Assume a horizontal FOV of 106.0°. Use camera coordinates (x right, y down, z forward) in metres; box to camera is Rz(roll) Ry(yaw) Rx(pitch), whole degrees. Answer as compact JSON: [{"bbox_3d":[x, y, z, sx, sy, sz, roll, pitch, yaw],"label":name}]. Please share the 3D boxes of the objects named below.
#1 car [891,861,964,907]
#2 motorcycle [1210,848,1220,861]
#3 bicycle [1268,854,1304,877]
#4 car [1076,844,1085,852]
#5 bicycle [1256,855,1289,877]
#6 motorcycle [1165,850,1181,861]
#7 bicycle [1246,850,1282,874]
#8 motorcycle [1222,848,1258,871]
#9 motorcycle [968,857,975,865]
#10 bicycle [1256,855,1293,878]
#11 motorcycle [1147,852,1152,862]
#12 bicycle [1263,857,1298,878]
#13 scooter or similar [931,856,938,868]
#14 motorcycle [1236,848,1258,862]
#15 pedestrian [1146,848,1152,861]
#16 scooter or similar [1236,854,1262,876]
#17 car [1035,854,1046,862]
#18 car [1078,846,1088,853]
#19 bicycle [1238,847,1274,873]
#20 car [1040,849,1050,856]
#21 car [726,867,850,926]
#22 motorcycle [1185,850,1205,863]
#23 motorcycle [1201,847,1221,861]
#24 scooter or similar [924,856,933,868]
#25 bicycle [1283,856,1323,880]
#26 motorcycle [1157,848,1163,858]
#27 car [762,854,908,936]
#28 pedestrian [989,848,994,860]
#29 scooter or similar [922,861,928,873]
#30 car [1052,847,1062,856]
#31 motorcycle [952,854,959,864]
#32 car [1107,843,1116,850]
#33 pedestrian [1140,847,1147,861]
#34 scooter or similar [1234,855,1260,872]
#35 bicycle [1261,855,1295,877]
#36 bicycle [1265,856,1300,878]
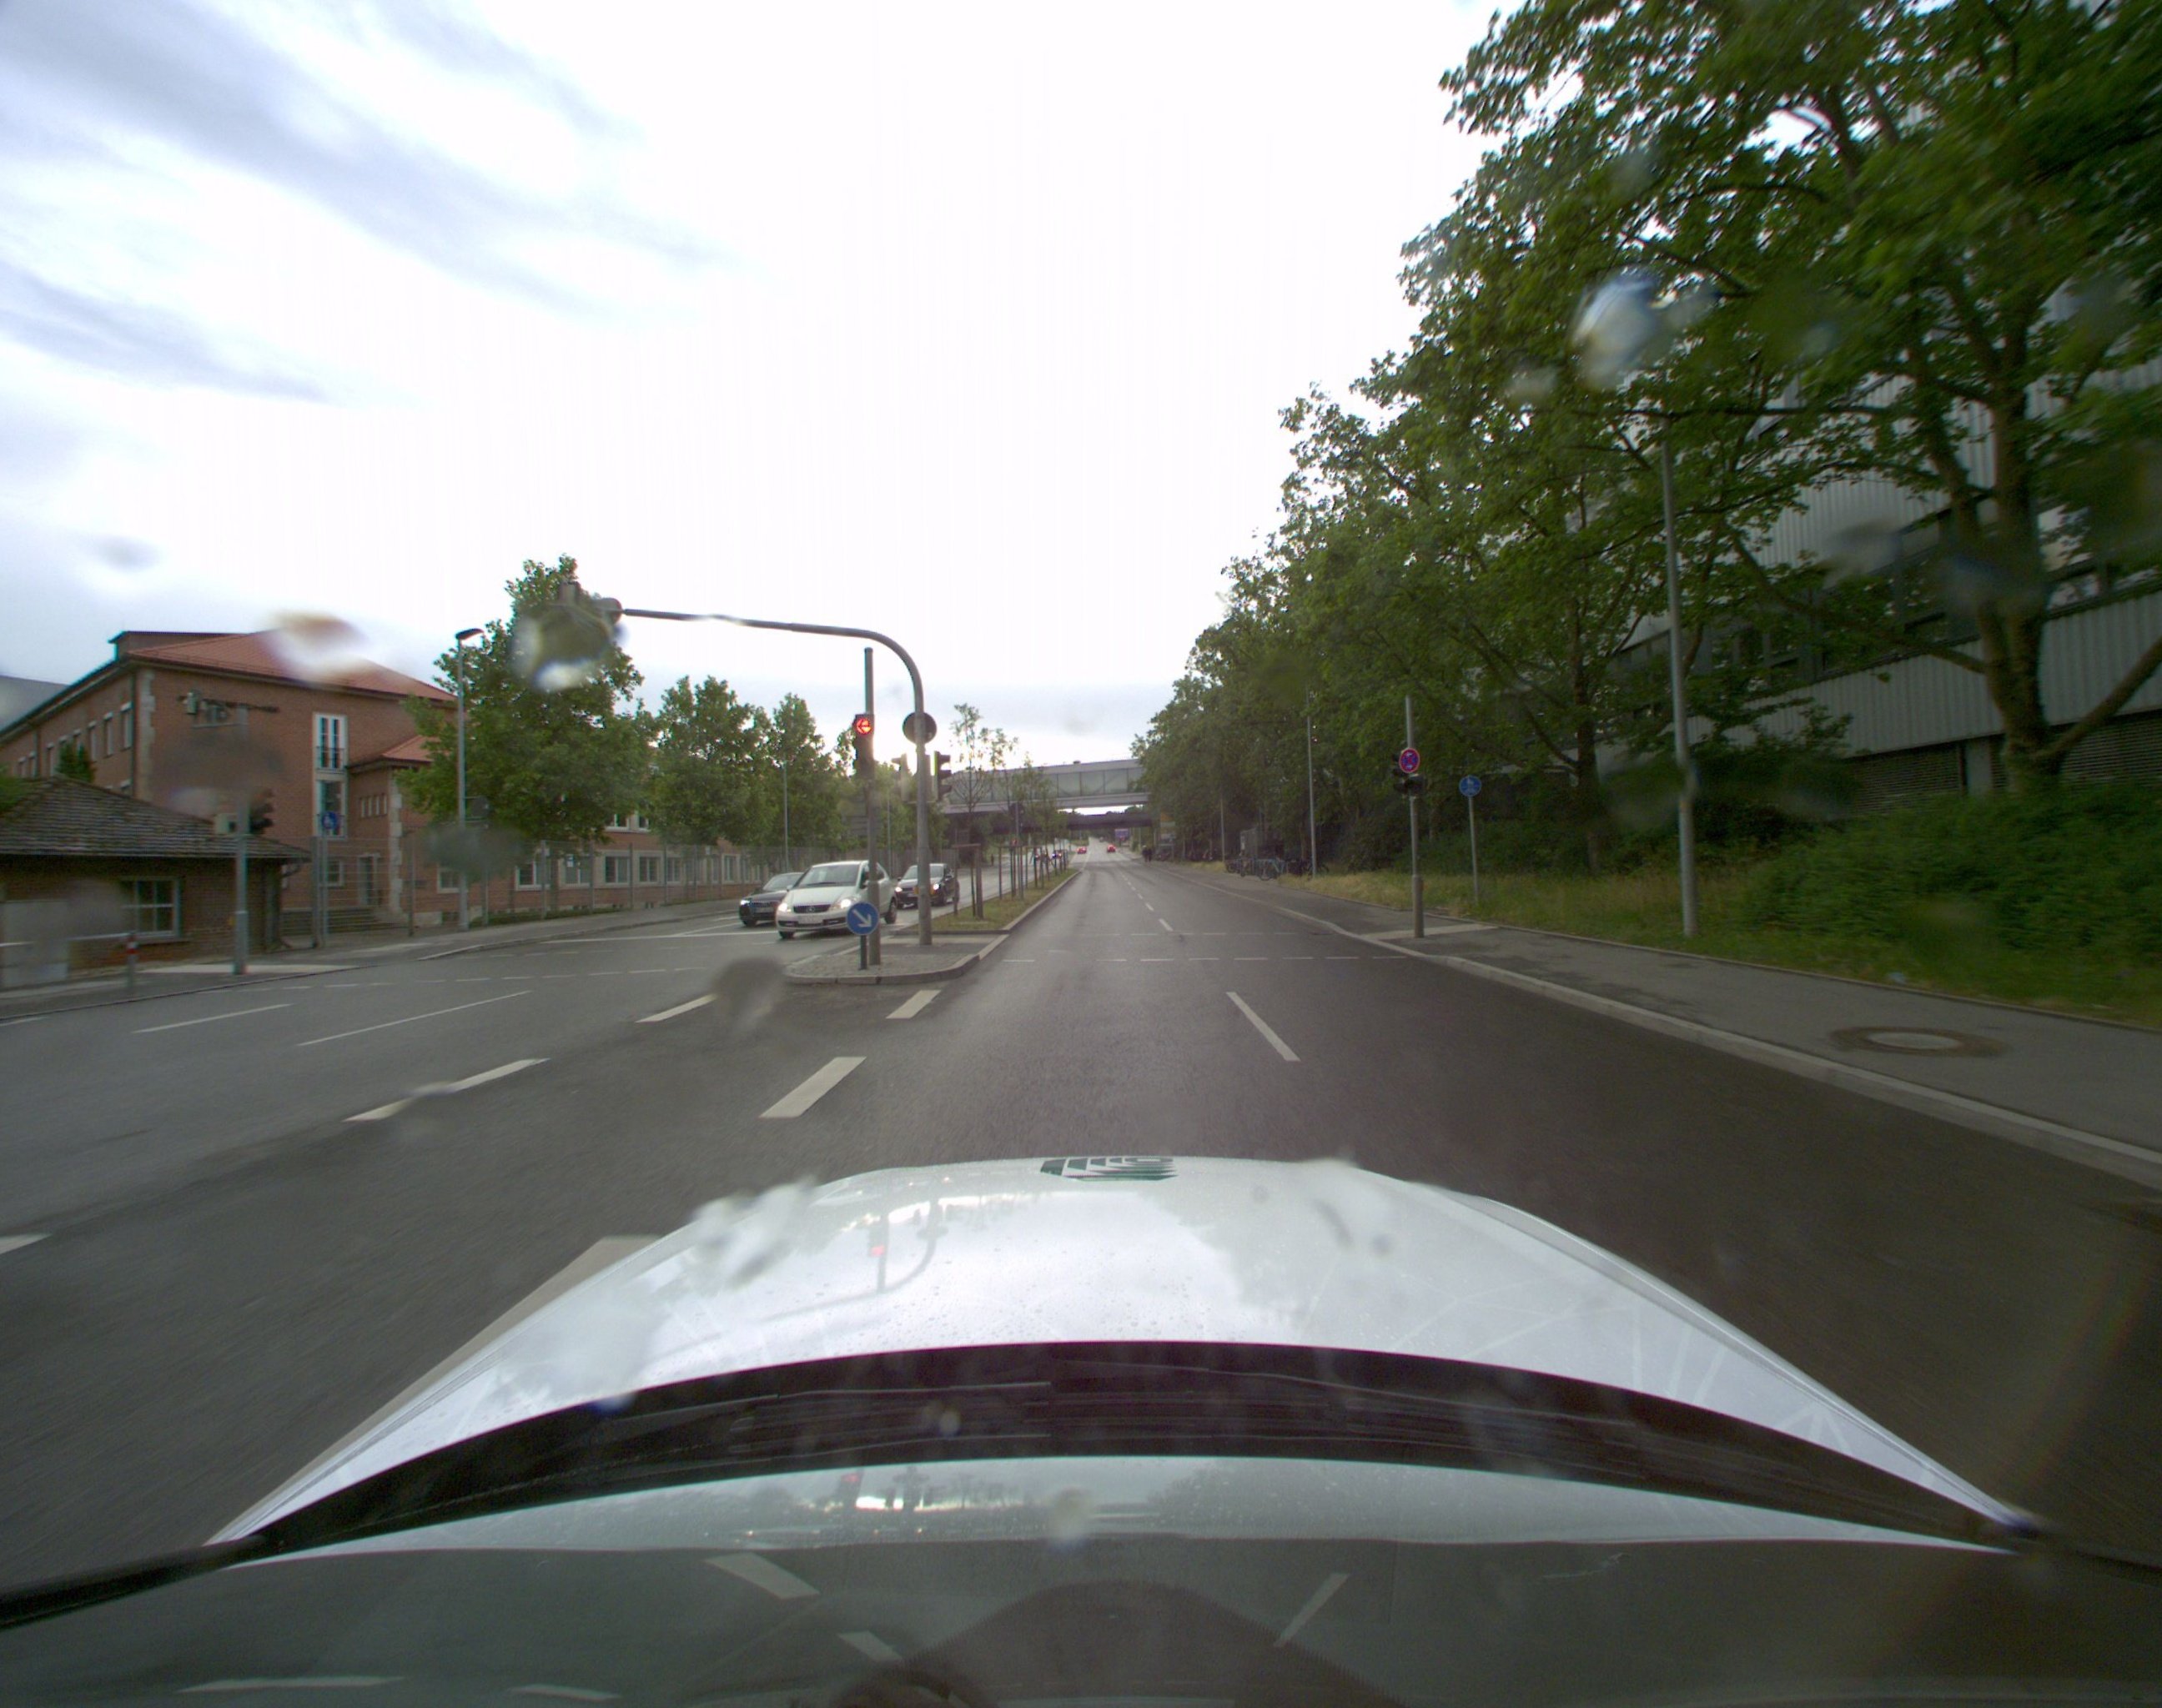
[{"bbox_3d":[-5.258,0.993,28.372,1.572,1.404,4.112,-3,0,1],"label":"car"},{"bbox_3d":[14.451,0.061,87.671,0.345,1.279,2.084,-2,0,29],"label":"motorcycle"},{"bbox_3d":[9.535,0.533,37.898,1.546,1.005,0.393,-3,0,0],"label":"bicycle"},{"bbox_3d":[-0.073,-1.303,184.485,2.070,1.718,4.196,0,-1,-1],"label":"car"},{"bbox_3d":[9.570,0.607,40.701,1.546,1.005,0.393,-3,0,0],"label":"bicycle"},{"bbox_3d":[11.450,0.133,101.526,1.919,1.297,0.551,-3,0,39],"label":"motorcycle"},{"bbox_3d":[9.679,0.421,43.124,1.785,1.167,0.447,-3,0,-6],"label":"bicycle"},{"bbox_3d":[9.493,0.352,48.565,1.995,1.273,0.443,-3,0,13],"label":"motorcycle"},{"bbox_3d":[-15.937,1.050,118.646,0.466,1.158,1.934,-3,1,4],"label":"motorcycle"},{"bbox_3d":[8.770,0.563,36.901,1.546,1.005,0.393,-3,0,0],"label":"bicycle"},{"bbox_3d":[8.518,0.379,100.858,0.468,1.136,1.819,-3,0,1],"label":"motorcycle"},{"bbox_3d":[9.619,0.645,39.203,1.546,0.958,0.393,-3,0,0],"label":"bicycle"},{"bbox_3d":[-16.148,0.894,89.909,0.310,1.218,1.310,-3,0,6],"label":"scooter or similar"},{"bbox_3d":[14.515,0.099,71.243,1.904,1.257,0.492,0,-1,6],"label":"motorcycle"},{"bbox_3d":[8.380,0.021,100.697,0.646,1.596,0.580,-3,0,12],"label":"pedestrian"},{"bbox_3d":[8.641,0.551,41.827,1.210,1.091,0.312,-3,0,-4],"label":"scooter or similar"},{"bbox_3d":[-7.258,0.705,147.167,1.710,1.437,3.771,-4,0,0],"label":"car"},{"bbox_3d":[0.529,-1.091,195.443,2.158,1.582,4.666,0,0,2],"label":"car"},{"bbox_3d":[9.636,0.323,44.912,1.859,1.348,0.446,-3,0,-12],"label":"bicycle"},{"bbox_3d":[-7.978,-0.406,180.374,2.057,1.361,4.756,-3,0,0],"label":"car"},{"bbox_3d":[-8.330,1.145,23.668,1.767,1.404,4.616,-3,0,1],"label":"car"},{"bbox_3d":[10.894,0.236,78.002,1.851,1.191,0.519,-2,0,-15],"label":"motorcycle"},{"bbox_3d":[10.882,-0.016,68.100,1.643,1.150,0.494,0,-1,8],"label":"motorcycle"},{"bbox_3d":[-16.273,0.856,86.963,0.309,1.218,1.312,-2,0,13],"label":"scooter or similar"},{"bbox_3d":[9.554,0.595,35.093,1.602,0.939,0.387,-3,-1,0],"label":"bicycle"},{"bbox_3d":[9.960,-0.084,102.623,0.468,1.213,1.945,-3,0,1],"label":"motorcycle"},{"bbox_3d":[-5.553,0.862,19.036,1.764,1.589,4.488,-3,-1,3],"label":"car"},{"bbox_3d":[-13.761,-0.003,125.228,0.516,1.816,0.802,-1,0,11],"label":"pedestrian"},{"bbox_3d":[-16.240,1.357,84.847,0.310,1.218,1.308,-3,0,1],"label":"scooter or similar"},{"bbox_3d":[-4.598,-0.470,153.787,1.579,1.605,3.856,-4,0,1],"label":"car"},{"bbox_3d":[-16.492,0.647,106.944,0.467,1.205,1.997,-3,1,1],"label":"motorcycle"},{"bbox_3d":[6.914,-1.613,184.080,1.739,1.470,4.166,-1,1,0],"label":"car"},{"bbox_3d":[7.729,0.021,100.689,0.607,1.721,0.894,-3,0,11],"label":"pedestrian"},{"bbox_3d":[9.632,0.535,47.205,1.476,0.937,0.364,-3,0,-17],"label":"scooter or similar"},{"bbox_3d":[9.634,0.585,39.880,1.546,1.005,0.393,-3,0,0],"label":"bicycle"},{"bbox_3d":[9.614,0.613,38.819,1.546,0.958,0.393,-3,0,0],"label":"bicycle"}]
